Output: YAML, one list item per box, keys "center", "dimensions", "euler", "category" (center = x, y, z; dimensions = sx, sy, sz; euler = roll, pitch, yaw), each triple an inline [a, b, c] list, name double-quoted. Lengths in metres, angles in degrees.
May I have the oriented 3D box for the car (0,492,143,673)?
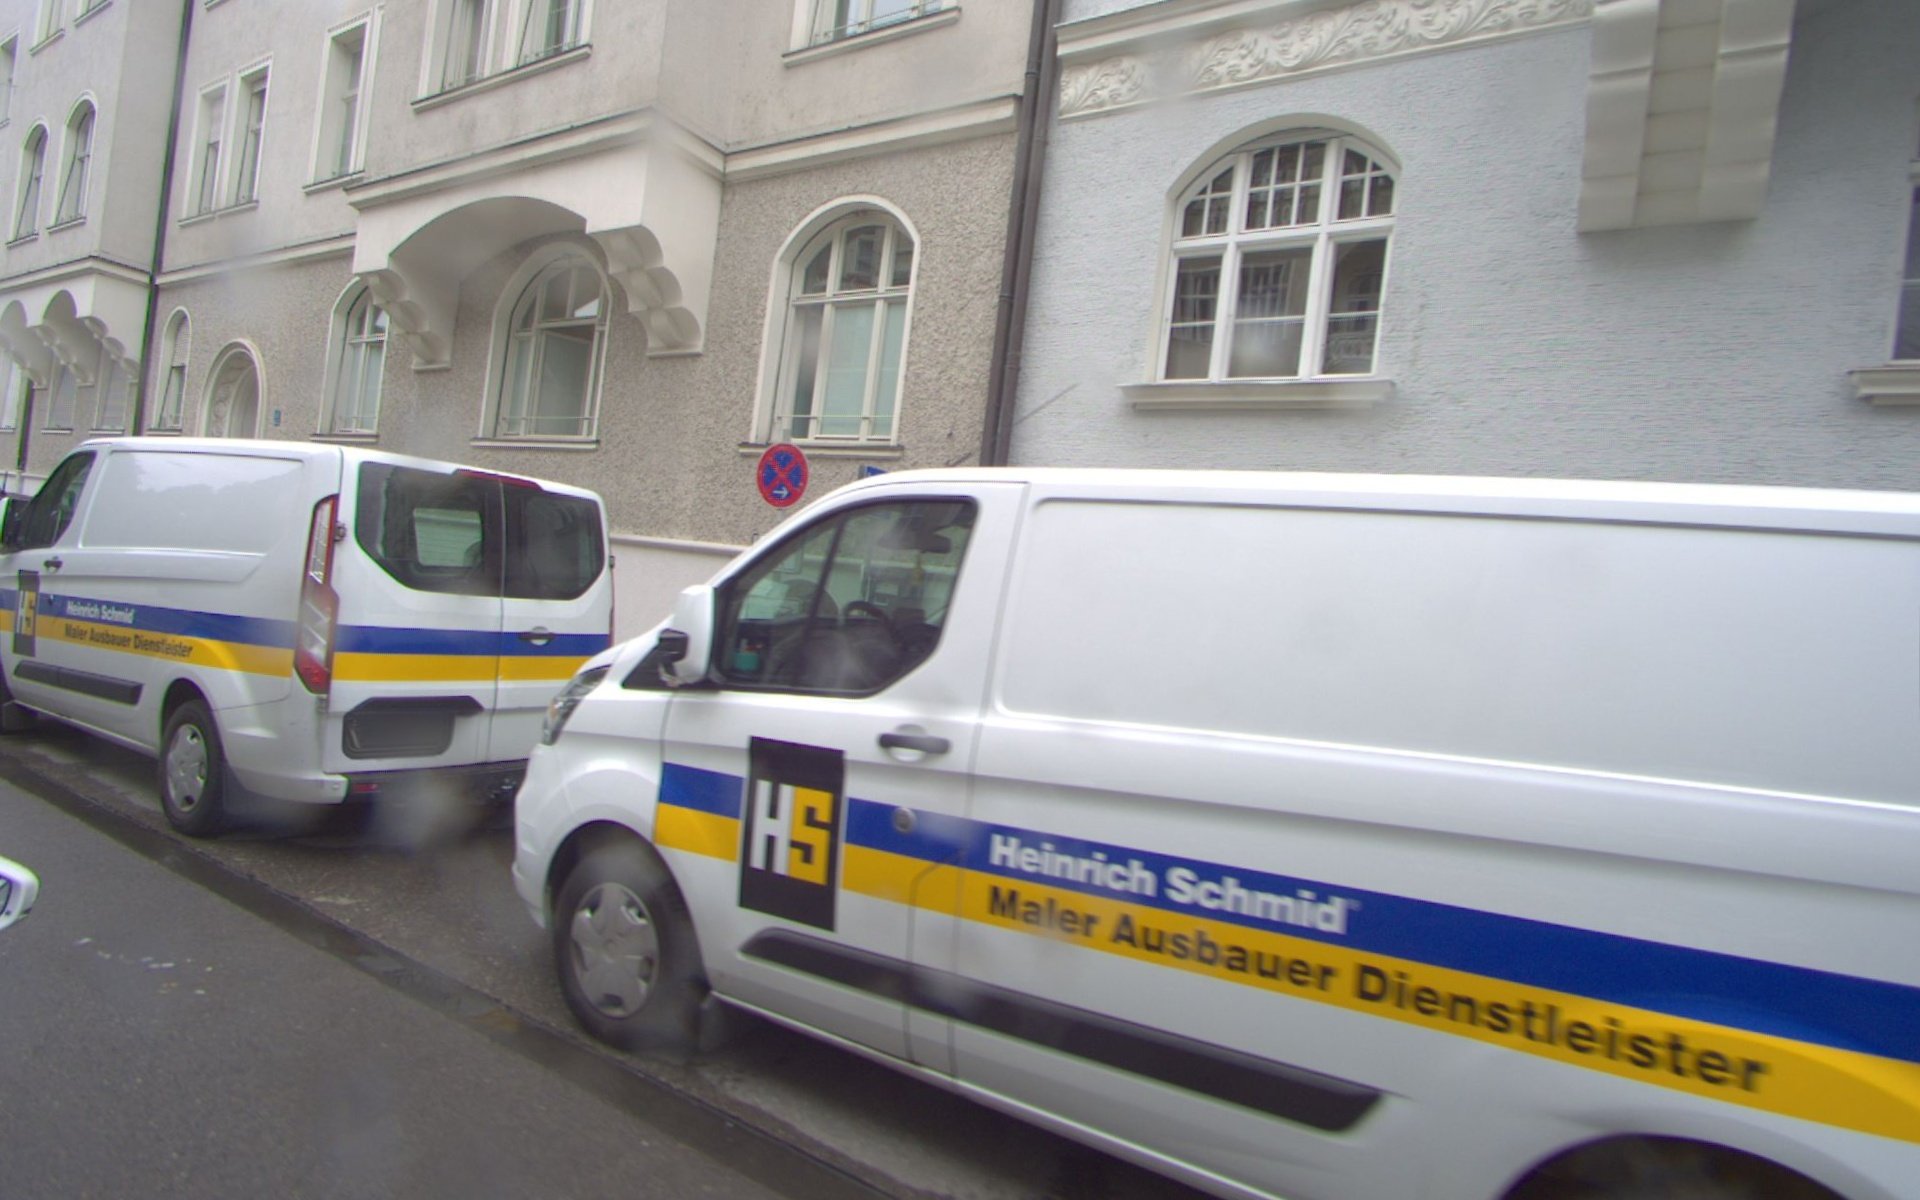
- center: [-9.507, -0.317, 9.520]
  dimensions: [3.722, 1.502, 1.633]
  euler: [7, 0, 33]
  category: "car"

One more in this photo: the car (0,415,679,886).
- center: [-4.350, 0.054, 6.329]
  dimensions: [4.909, 1.961, 1.962]
  euler: [7, 0, 30]
  category: "car"

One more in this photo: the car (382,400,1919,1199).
- center: [0.552, 0.596, 3.330]
  dimensions: [4.909, 2.038, 1.962]
  euler: [7, 0, 30]
  category: "car"

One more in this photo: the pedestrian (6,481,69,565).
- center: [-20.192, -1.669, 22.035]
  dimensions: [0.723, 1.760, 0.691]
  euler: [3, 2, -12]
  category: "pedestrian"

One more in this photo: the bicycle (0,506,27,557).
- center: [-23.056, -1.680, 23.940]
  dimensions: [2.245, 1.108, 0.694]
  euler: [7, 2, 33]
  category: "bicycle"
